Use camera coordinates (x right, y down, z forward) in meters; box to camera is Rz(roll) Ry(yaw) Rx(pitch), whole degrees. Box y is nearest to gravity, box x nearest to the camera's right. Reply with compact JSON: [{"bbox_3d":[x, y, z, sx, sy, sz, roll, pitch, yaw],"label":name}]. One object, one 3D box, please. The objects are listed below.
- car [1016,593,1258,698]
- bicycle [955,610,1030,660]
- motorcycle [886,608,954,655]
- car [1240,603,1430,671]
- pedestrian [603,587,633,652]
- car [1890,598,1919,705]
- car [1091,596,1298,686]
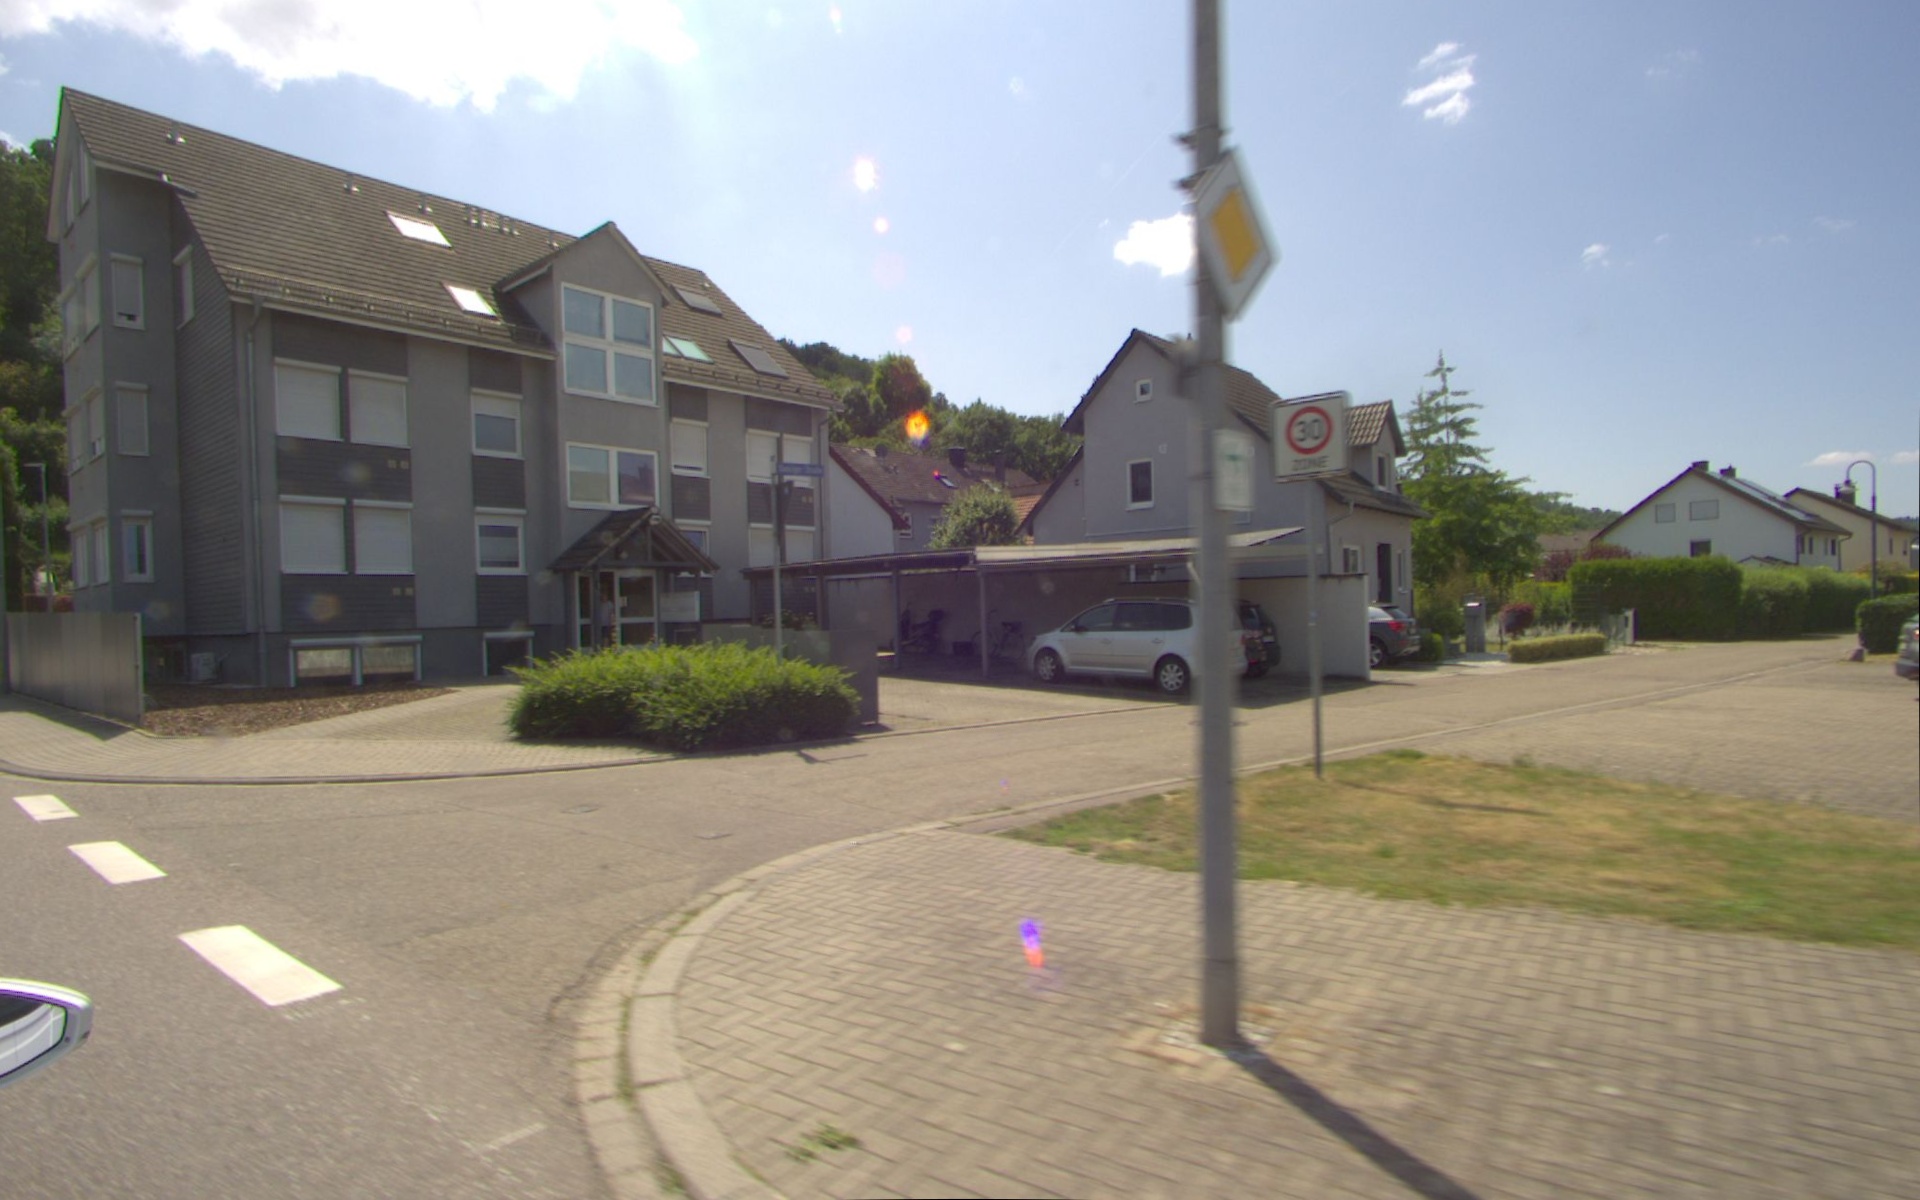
[{"bbox_3d":[3.223,0.749,18.696,4.164,1.671,1.728,2,2,40],"label":"car"},{"bbox_3d":[0.812,0.873,25.539,1.929,1.188,0.644,2,2,41],"label":"bicycle"},{"bbox_3d":[-1.095,0.840,27.208,1.929,1.179,0.644,2,2,41],"label":"motorcycle"},{"bbox_3d":[8.954,0.833,23.987,3.948,1.491,1.802,-1,0,36],"label":"car"},{"bbox_3d":[-8.267,0.462,24.214,0.529,1.549,0.479,0,1,40],"label":"pedestrian"},{"bbox_3d":[15.616,0.703,13.707,4.081,1.523,1.668,-1,0,39],"label":"car"},{"bbox_3d":[4.788,0.769,20.696,3.806,1.609,1.728,2,2,40],"label":"car"}]
